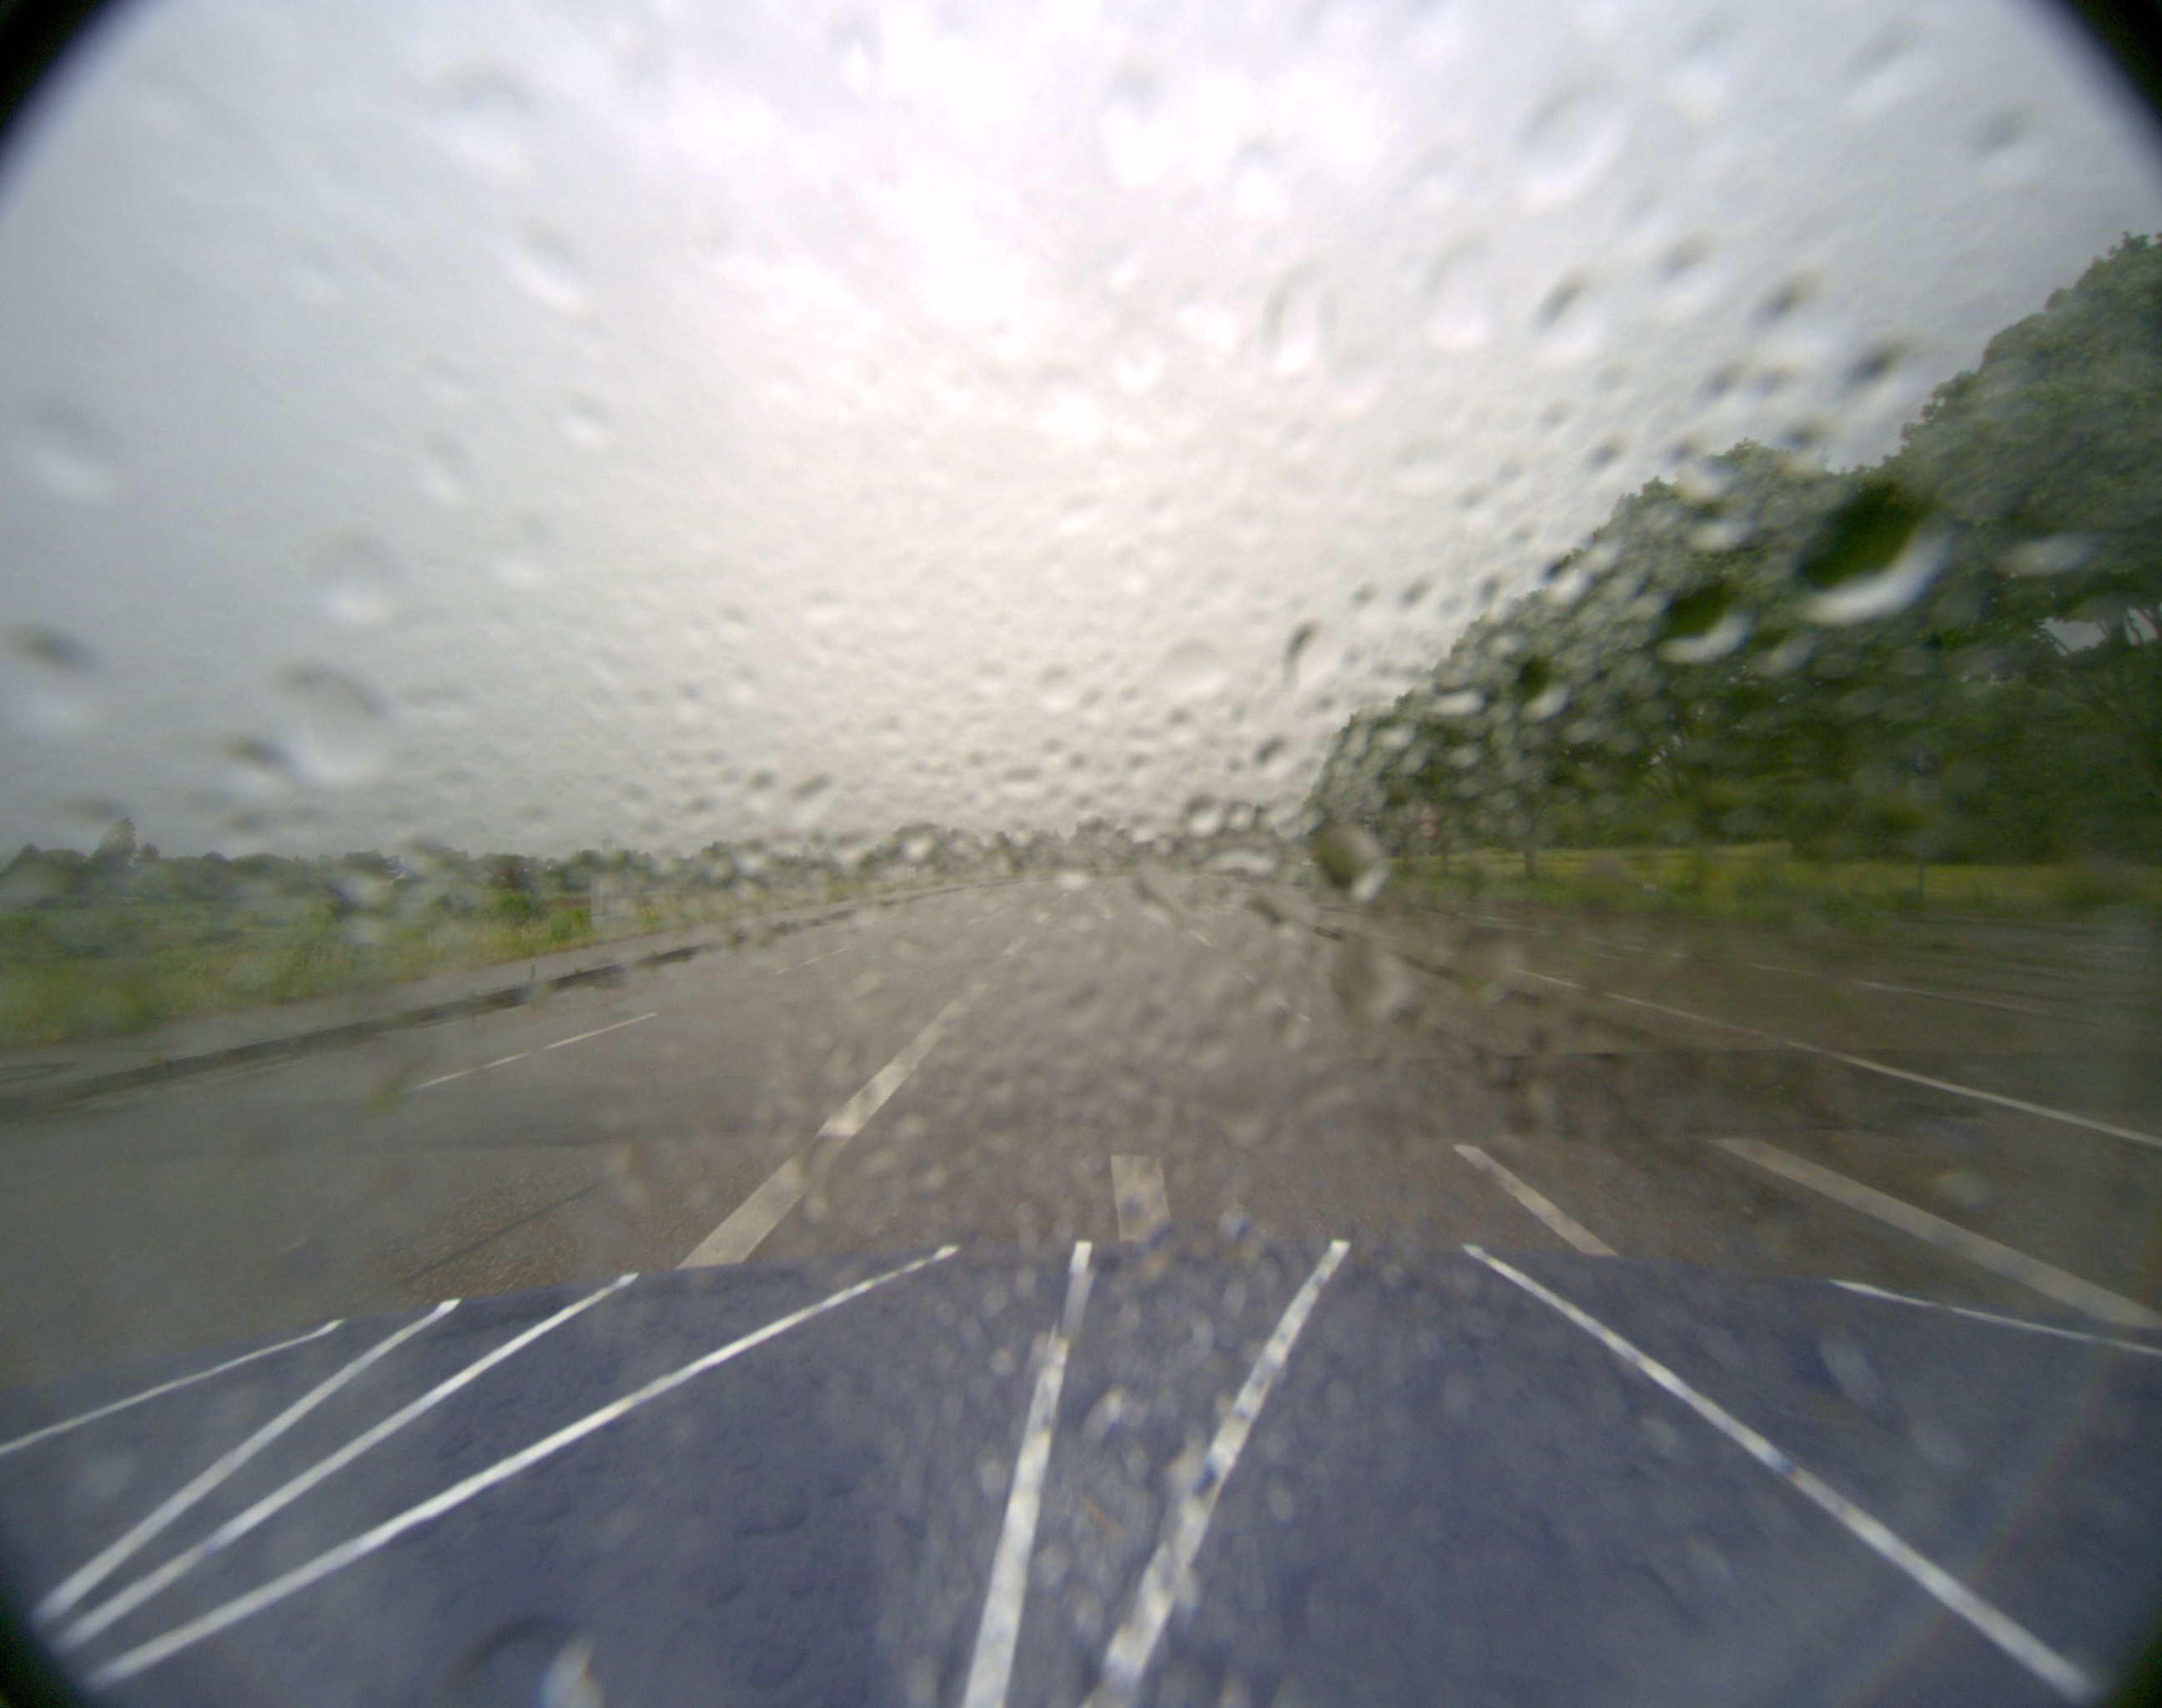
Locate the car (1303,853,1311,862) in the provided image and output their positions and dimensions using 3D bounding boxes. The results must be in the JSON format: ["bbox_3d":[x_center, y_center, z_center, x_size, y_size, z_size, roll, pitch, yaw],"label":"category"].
[{"bbox_3d":[51.667,0.788,173.621,1.741,1.979,4.016,0,0,17],"label":"car"}]

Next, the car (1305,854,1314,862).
[{"bbox_3d":[46.923,0.742,155.914,1.881,1.564,4.650,0,0,17],"label":"car"}]

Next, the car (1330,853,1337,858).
[{"bbox_3d":[70.438,0.380,212.062,1.741,1.478,4.016,0,0,16],"label":"car"}]

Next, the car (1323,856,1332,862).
[{"bbox_3d":[63.751,1.314,196.324,1.887,1.578,4.123,-3,0,15],"label":"car"}]
